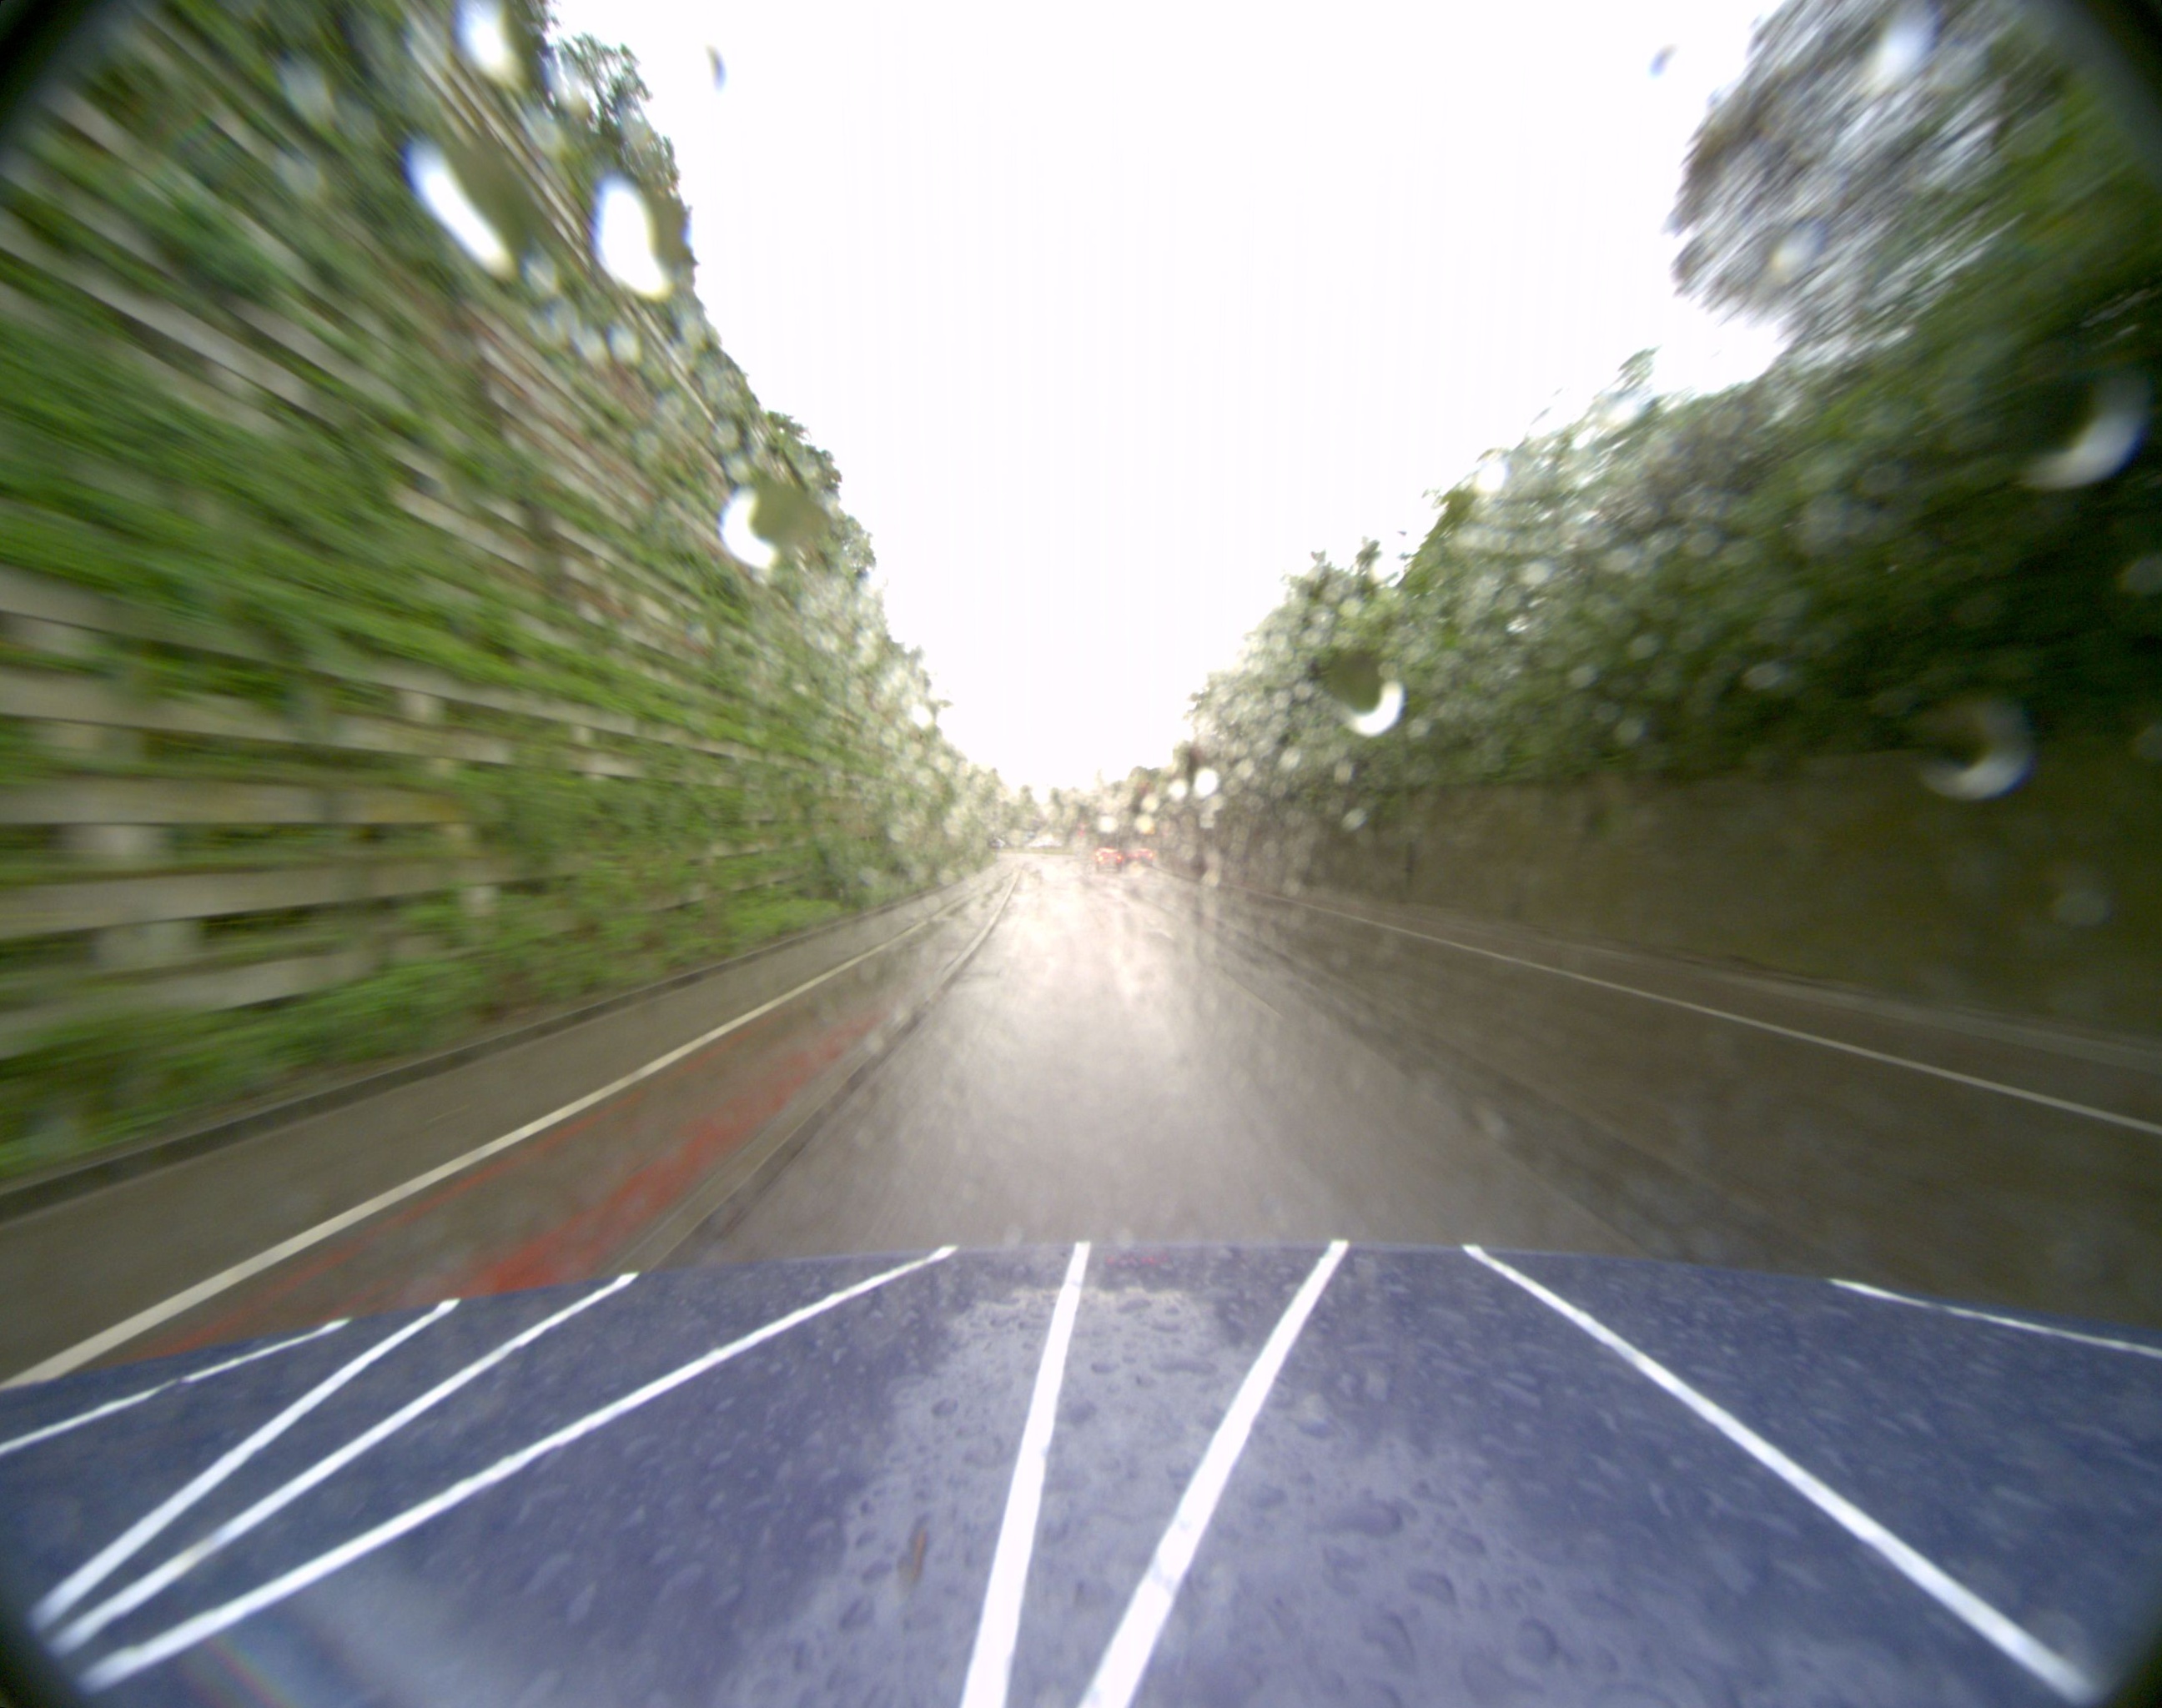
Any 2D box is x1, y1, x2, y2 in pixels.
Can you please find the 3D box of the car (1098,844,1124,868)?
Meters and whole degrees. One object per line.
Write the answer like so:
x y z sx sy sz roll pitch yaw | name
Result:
2.169 0.138 54.985 1.737 1.609 3.999 -1 2 0 | car

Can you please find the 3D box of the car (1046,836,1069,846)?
-4.043 -2.158 128.938 3.823 1.559 1.773 2 2 -3 | car

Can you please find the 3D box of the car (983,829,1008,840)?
-15.865 -3.603 140.505 4.387 1.756 1.920 2 2 -2 | car

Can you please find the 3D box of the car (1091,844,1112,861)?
2.076 -0.118 76.381 1.873 1.592 4.001 2 0 4 | car

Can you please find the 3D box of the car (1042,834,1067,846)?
-4.530 -2.416 131.358 4.233 1.969 1.903 2 2 -3 | car

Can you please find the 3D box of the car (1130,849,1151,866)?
6.068 0.293 78.035 1.998 1.495 4.729 2 2 4 | car

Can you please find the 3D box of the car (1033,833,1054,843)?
-7.603 -3.233 152.966 3.963 1.869 1.692 2 2 -7 | car

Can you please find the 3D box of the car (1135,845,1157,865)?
6.009 0.061 70.540 1.819 1.648 4.049 1 2 3 | car

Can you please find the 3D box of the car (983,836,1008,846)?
-14.393 -2.191 128.340 3.998 1.565 1.669 2 2 -3 | car

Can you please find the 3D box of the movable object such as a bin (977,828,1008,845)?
-14.273 -2.811 122.480 2.316 2.671 5.686 0 1 -38 | movable object such as a bin
